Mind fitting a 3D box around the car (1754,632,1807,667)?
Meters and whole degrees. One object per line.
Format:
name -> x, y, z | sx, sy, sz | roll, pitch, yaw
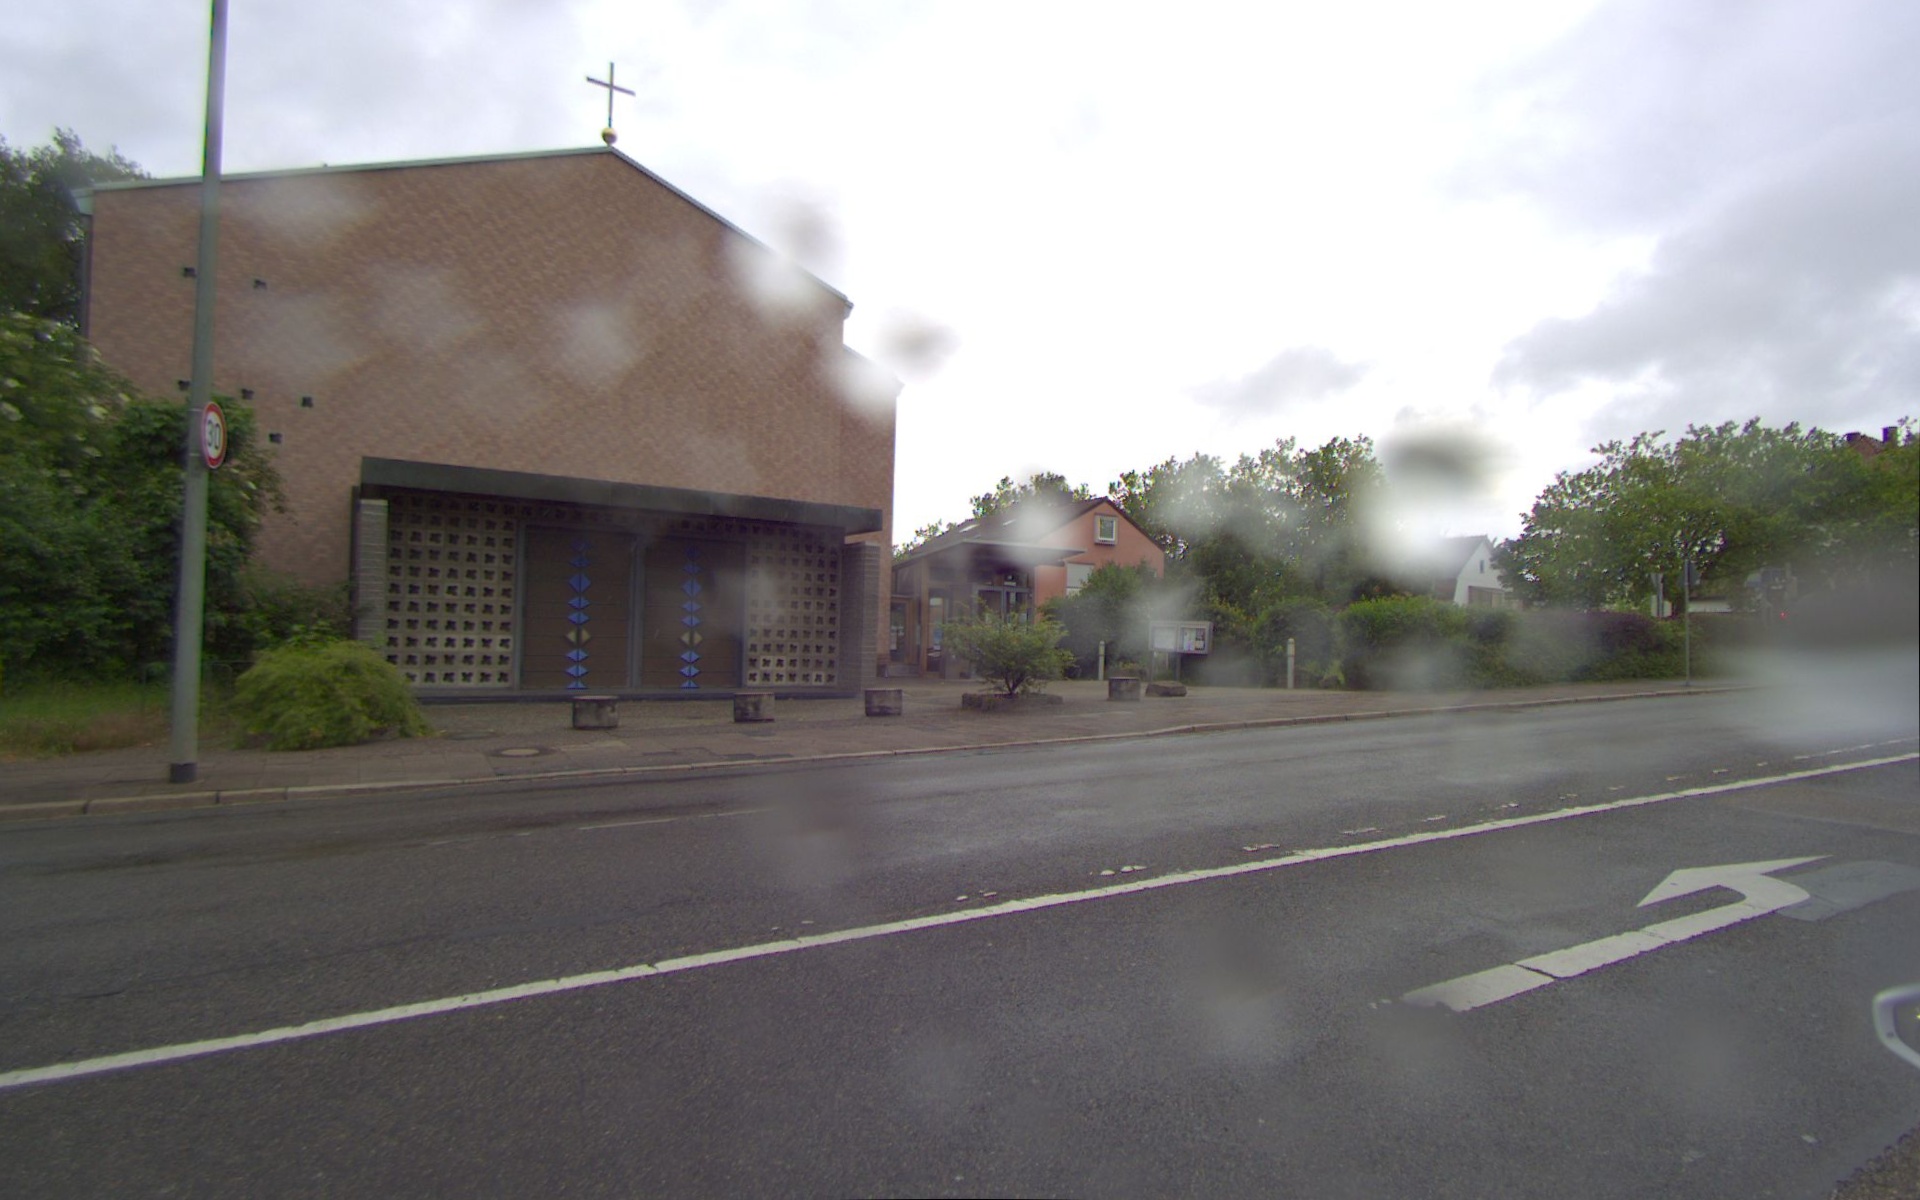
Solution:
car -> 40.994, 2.431, 50.229 | 1.969, 1.572, 3.983 | 0, -1, 38
